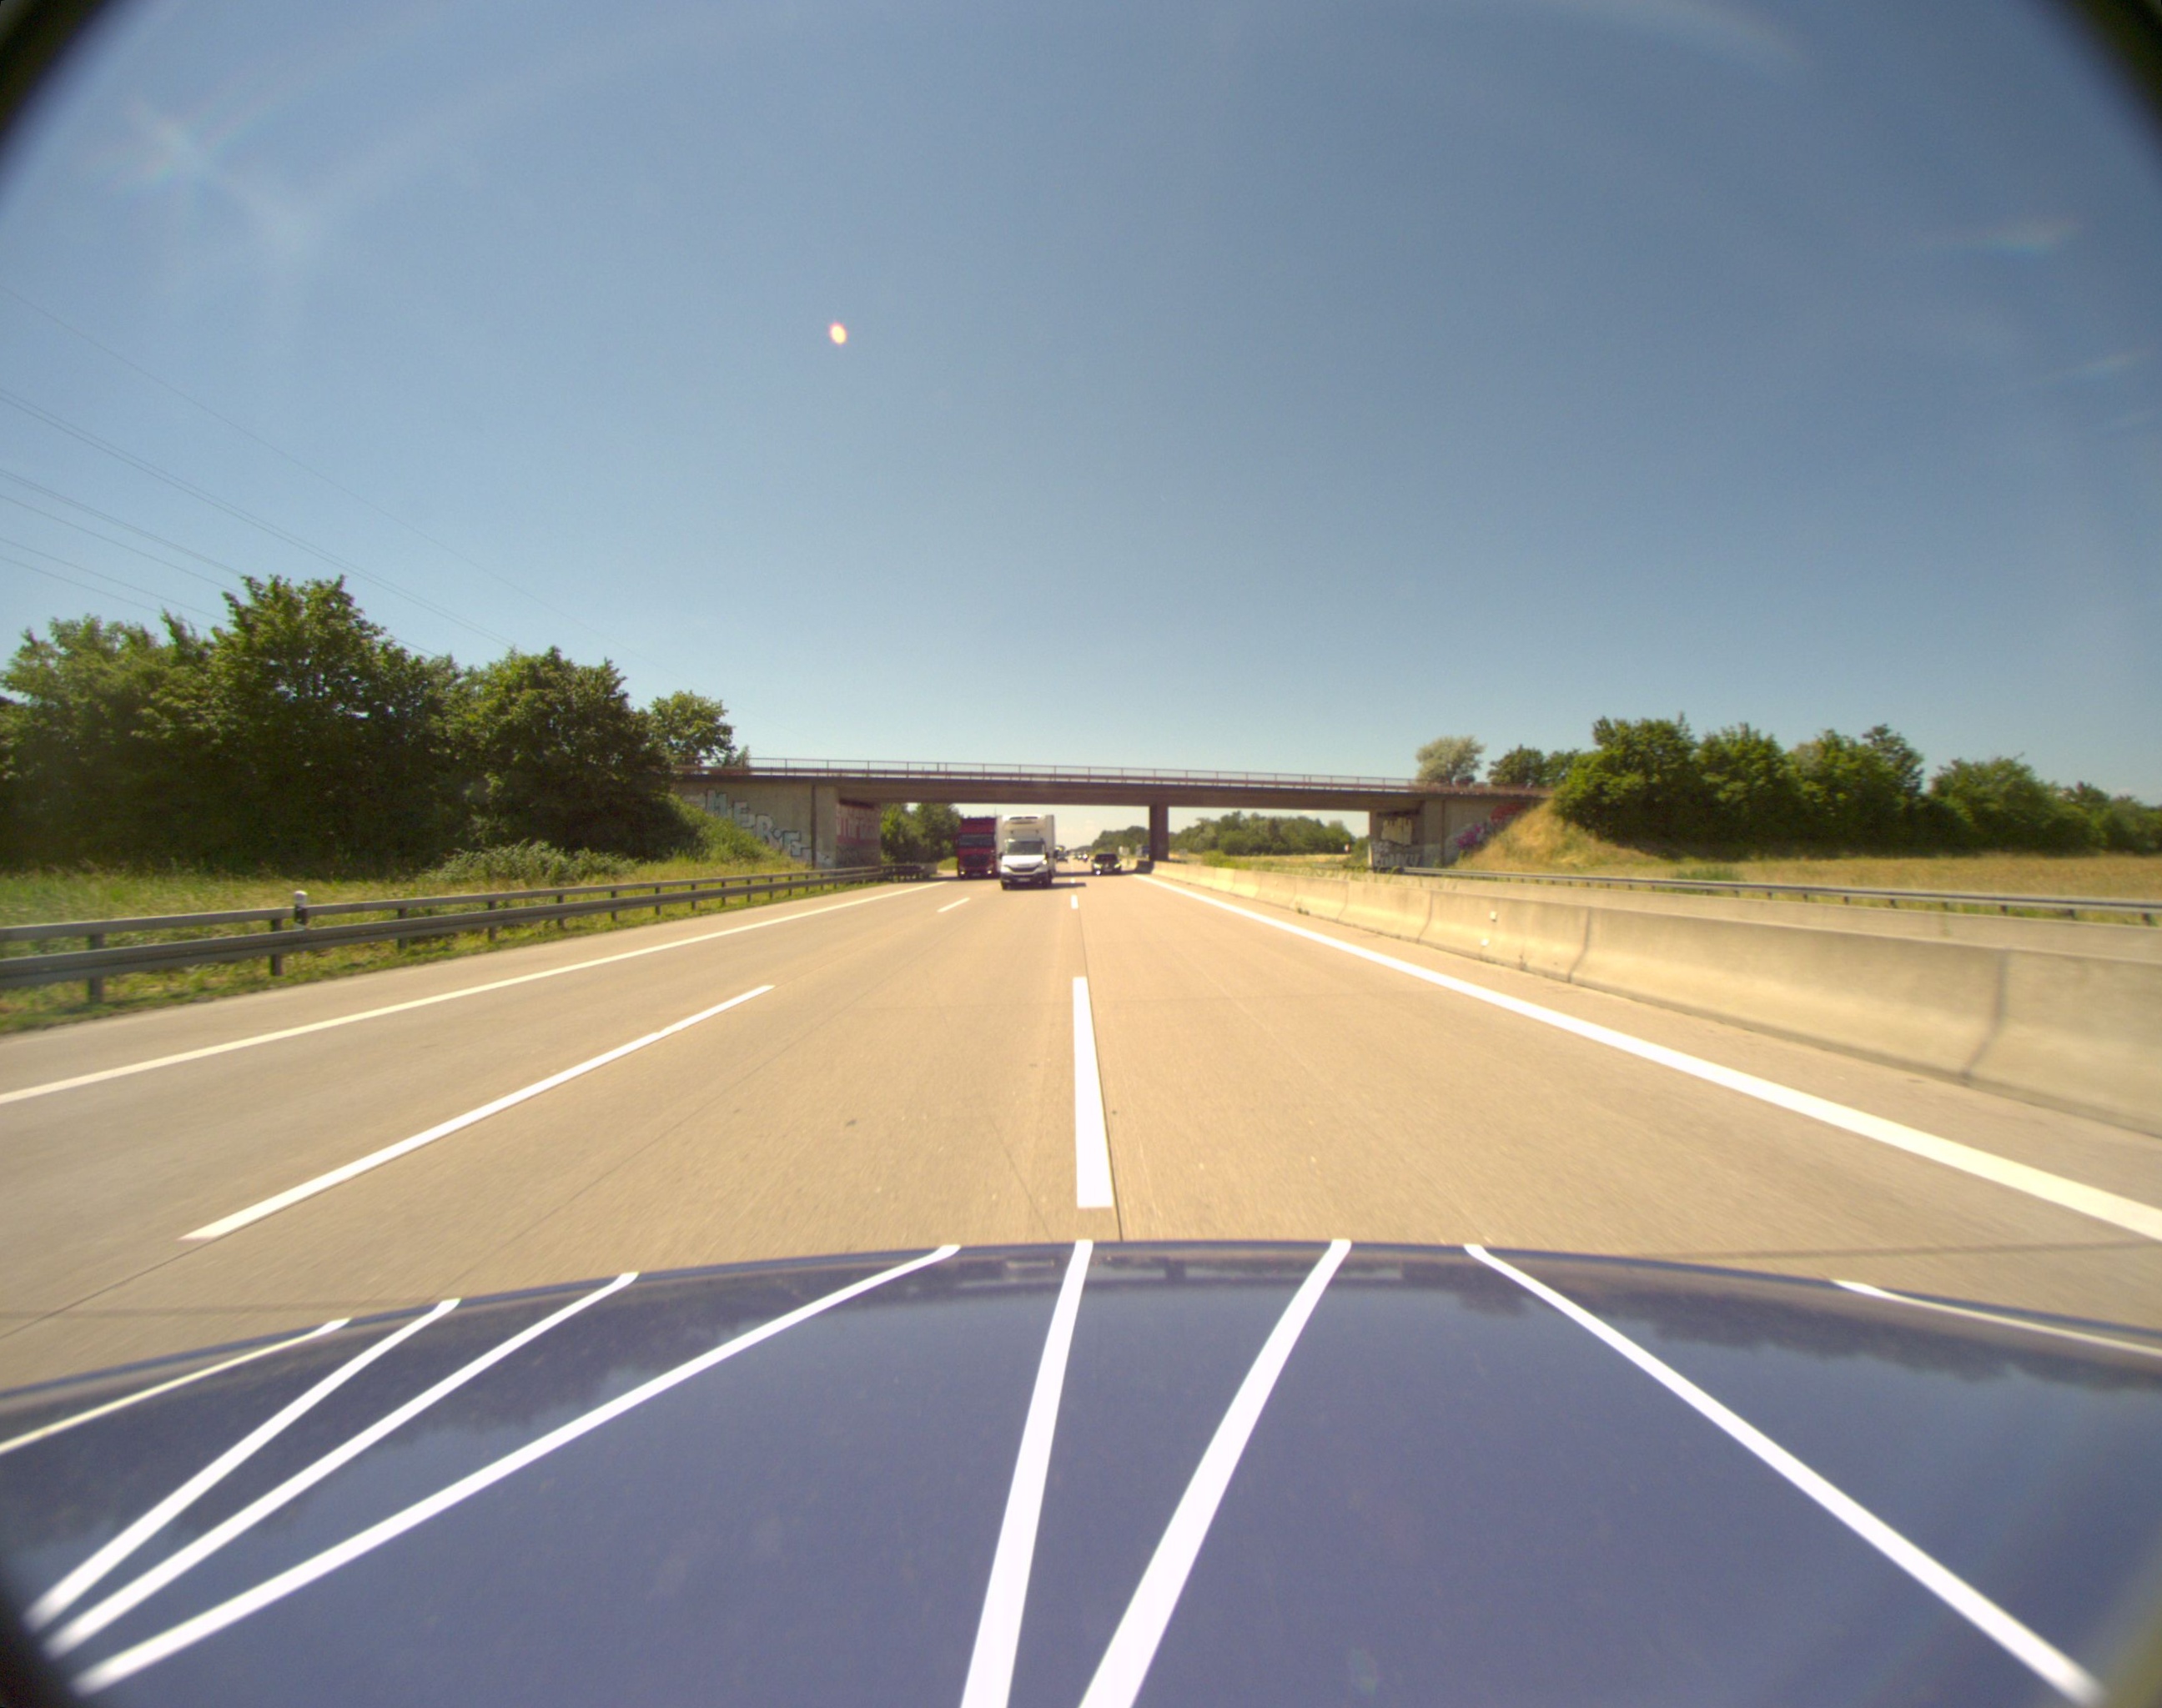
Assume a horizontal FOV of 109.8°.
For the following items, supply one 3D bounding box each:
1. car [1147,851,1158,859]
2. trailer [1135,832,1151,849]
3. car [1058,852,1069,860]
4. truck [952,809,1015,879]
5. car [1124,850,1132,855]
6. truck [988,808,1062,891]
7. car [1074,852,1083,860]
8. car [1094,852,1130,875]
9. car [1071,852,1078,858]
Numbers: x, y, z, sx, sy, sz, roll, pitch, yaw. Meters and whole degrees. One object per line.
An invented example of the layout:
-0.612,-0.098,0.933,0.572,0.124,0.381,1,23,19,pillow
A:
14.026,0.236,149.292,1.771,1.609,3.861,-1,0,-1,car
16.859,-3.599,207.199,3.273,4.354,13.499,-2,1,0,trailer
-2.731,0.287,118.309,1.545,1.098,3.054,-2,1,0,car
-6.576,-0.702,53.151,2.856,4.298,10.884,-2,1,0,truck
13.400,-0.385,217.230,1.819,1.401,4.670,-1,0,-1,car
-2.419,-0.228,35.620,2.784,3.328,7.812,-2,1,0,truck
-0.517,0.285,147.145,1.558,1.440,3.776,-2,1,1,car
1.993,0.580,50.643,1.999,1.462,6.346,0,0,-2,car
-1.508,0.209,180.547,1.683,1.445,3.563,-2,1,1,car
